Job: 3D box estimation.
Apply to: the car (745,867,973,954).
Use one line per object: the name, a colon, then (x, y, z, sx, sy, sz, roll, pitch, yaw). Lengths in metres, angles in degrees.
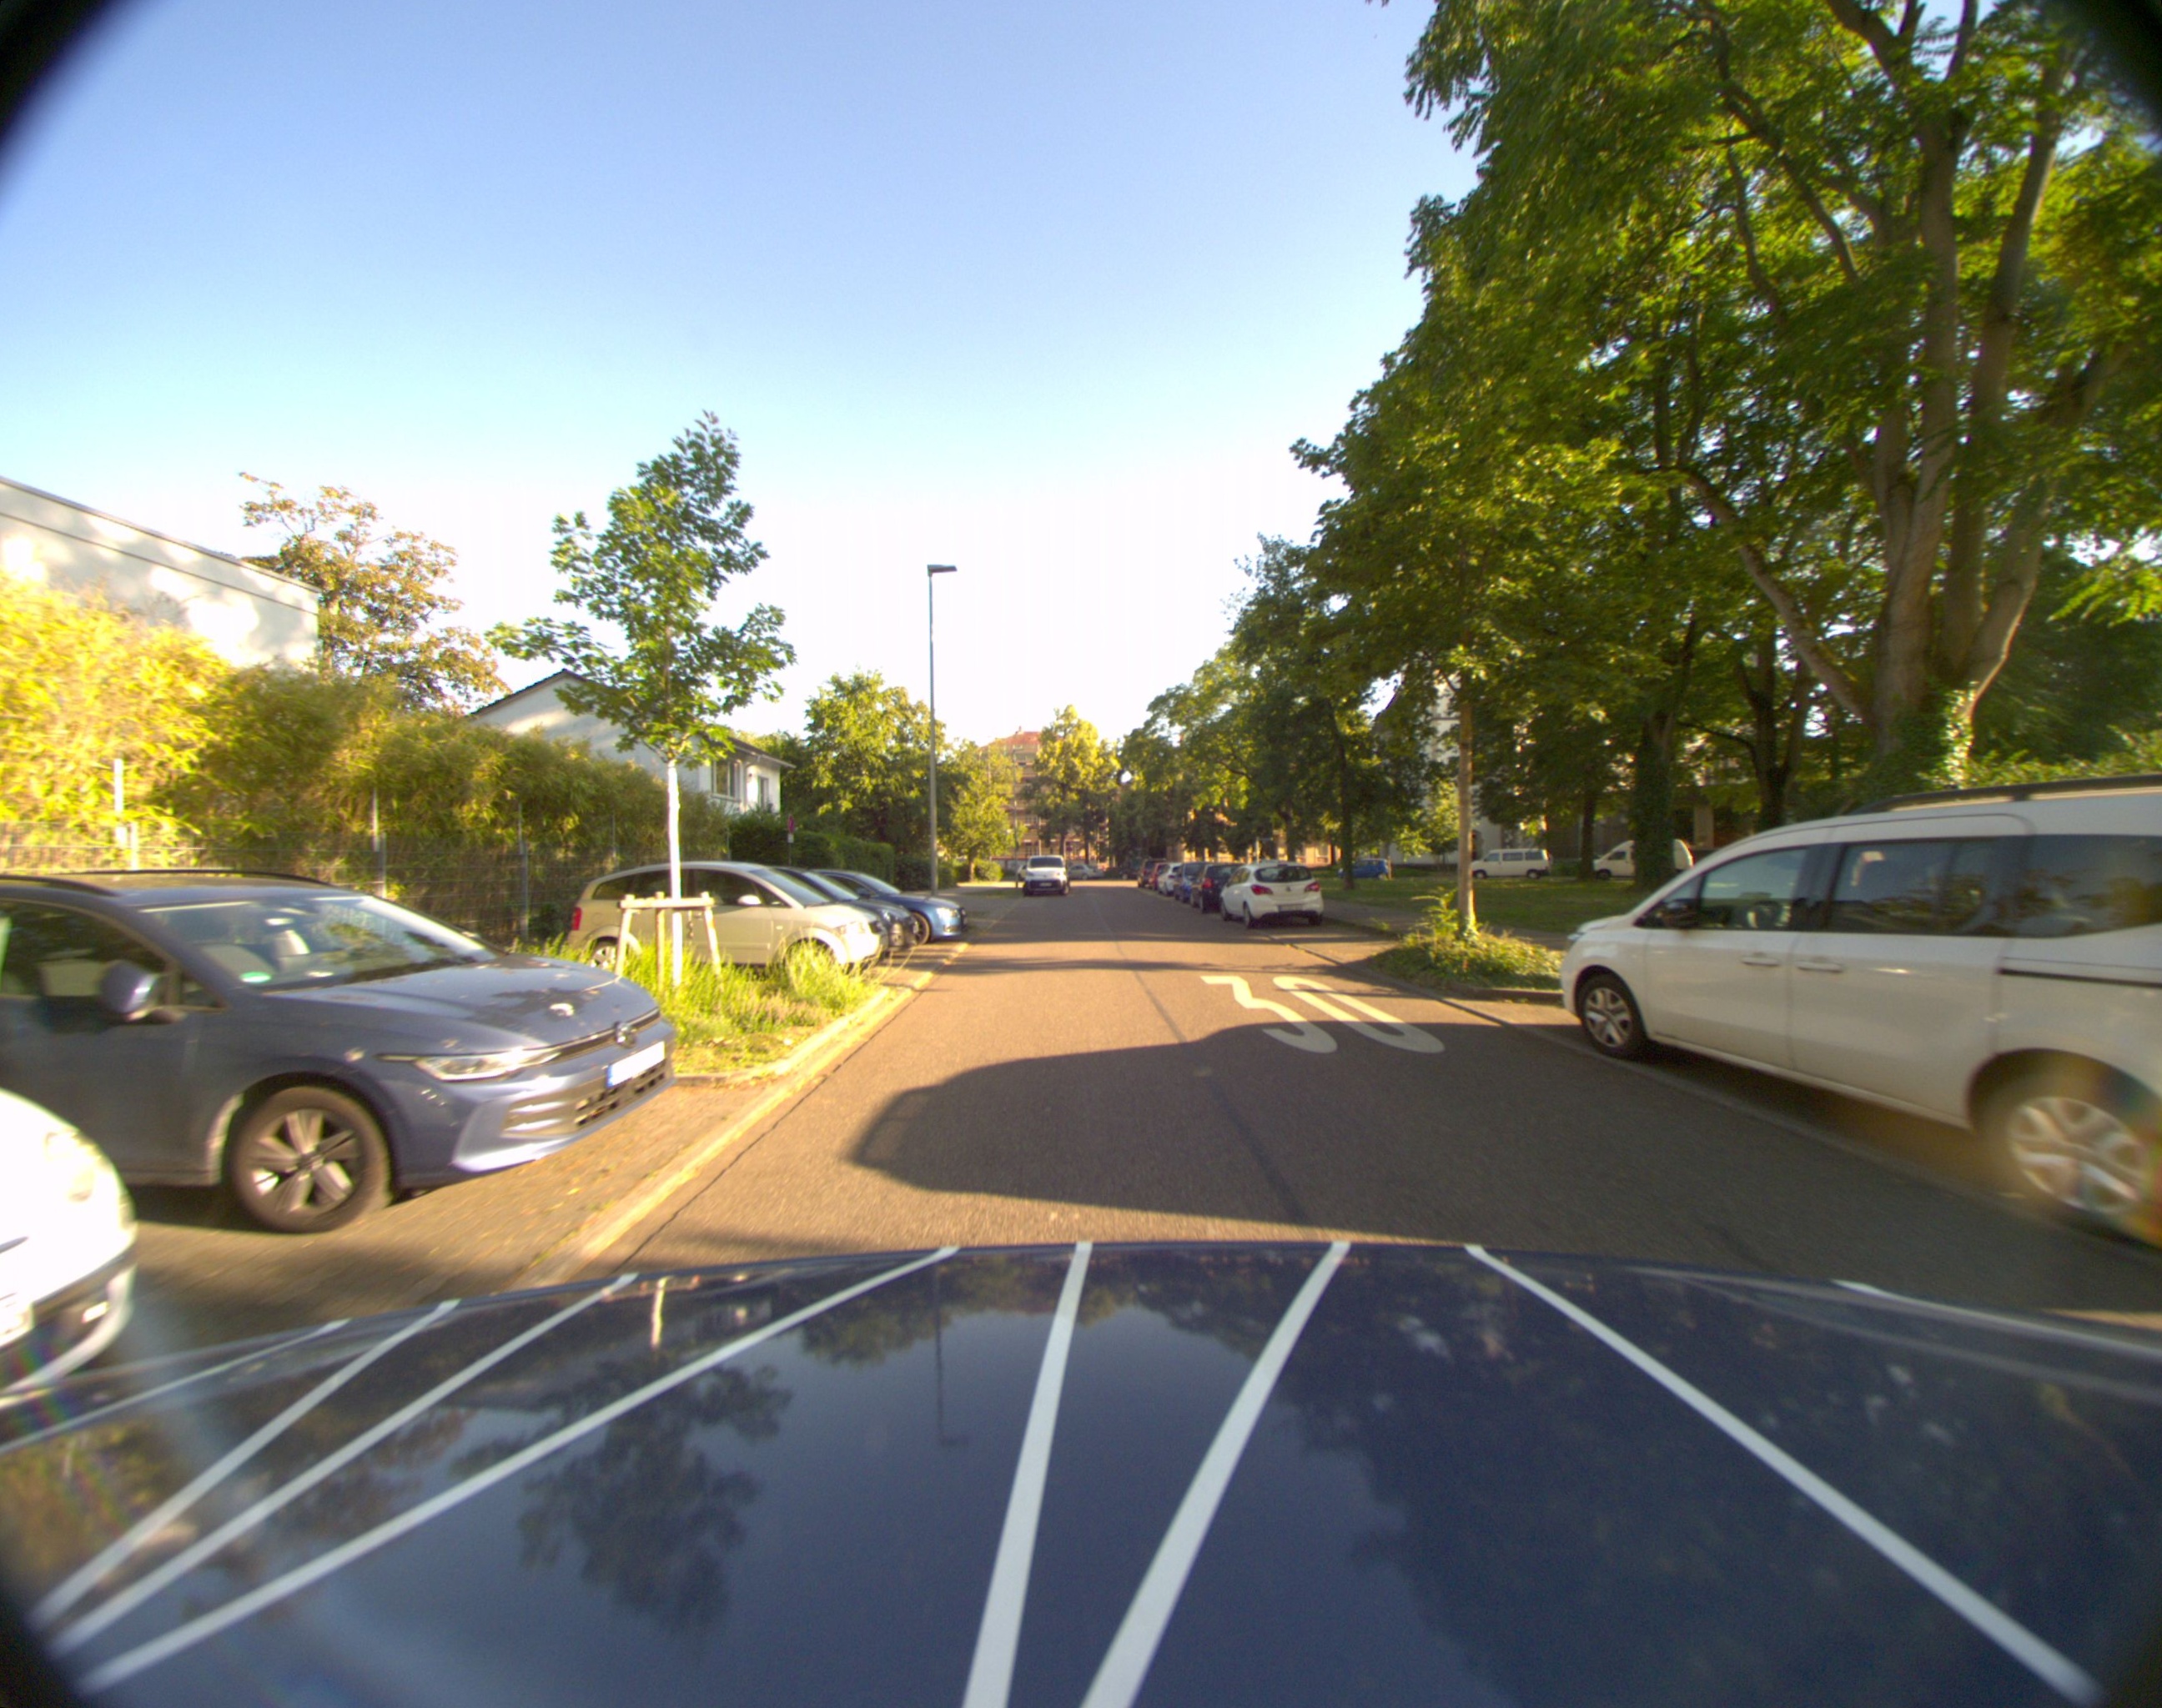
car: (-4.157, 1.051, 14.708, 3.922, 1.528, 1.745, 0, 0, -3)

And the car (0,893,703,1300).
car: (-4.431, 0.986, 3.873, 4.096, 1.448, 1.811, 0, 0, 1)

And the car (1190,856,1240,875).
car: (10.647, 0.921, 60.419, 3.565, 1.489, 1.692, -1, 0, 34)

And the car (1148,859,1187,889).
car: (4.573, 1.044, 40.538, 1.716, 1.500, 3.679, -1, 0, 1)

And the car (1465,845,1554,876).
car: (27.317, 0.410, 48.472, 4.760, 1.905, 1.800, -1, 0, 34)

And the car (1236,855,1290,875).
car: (13.856, 0.826, 57.876, 3.565, 1.489, 1.692, -1, 0, 34)

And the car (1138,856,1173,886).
car: (4.327, 0.977, 44.635, 1.716, 1.673, 3.679, -1, 0, 1)

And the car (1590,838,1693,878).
car: (33.013, 0.262, 44.905, 4.760, 2.209, 1.855, -1, 0, 32)

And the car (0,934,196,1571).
car: (-4.241, 0.961, 1.337, 3.354, 1.482, 1.637, 0, 0, -2)

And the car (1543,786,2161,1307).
car: (4.804, 0.683, 4.284, 1.761, 1.905, 4.238, -2, 0, 0)

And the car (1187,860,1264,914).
car: (4.384, 0.959, 23.526, 1.716, 1.500, 3.679, -1, 0, 1)

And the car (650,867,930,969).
car: (-4.601, 1.002, 12.479, 3.922, 1.528, 1.745, 0, 0, -3)

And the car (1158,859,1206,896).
car: (4.465, 0.999, 34.002, 1.716, 1.500, 3.679, -1, 0, 1)

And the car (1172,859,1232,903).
car: (4.475, 0.975, 28.617, 1.716, 1.500, 3.679, -1, 0, 1)

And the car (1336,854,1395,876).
car: (20.026, 0.762, 53.535, 3.565, 1.489, 1.678, -1, 0, 34)

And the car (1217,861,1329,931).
car: (4.508, 0.931, 18.288, 1.717, 1.500, 3.309, -1, 0, -2)

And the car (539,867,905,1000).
car: (-4.427, 0.960, 9.868, 3.922, 1.528, 1.745, 0, 0, -3)

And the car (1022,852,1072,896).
car: (-1.552, 0.908, 36.158, 2.059, 1.919, 4.449, -1, 0, 1)

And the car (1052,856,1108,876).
car: (-0.100, 1.140, 68.072, 4.500, 1.673, 2.291, -1, -3, 35)
